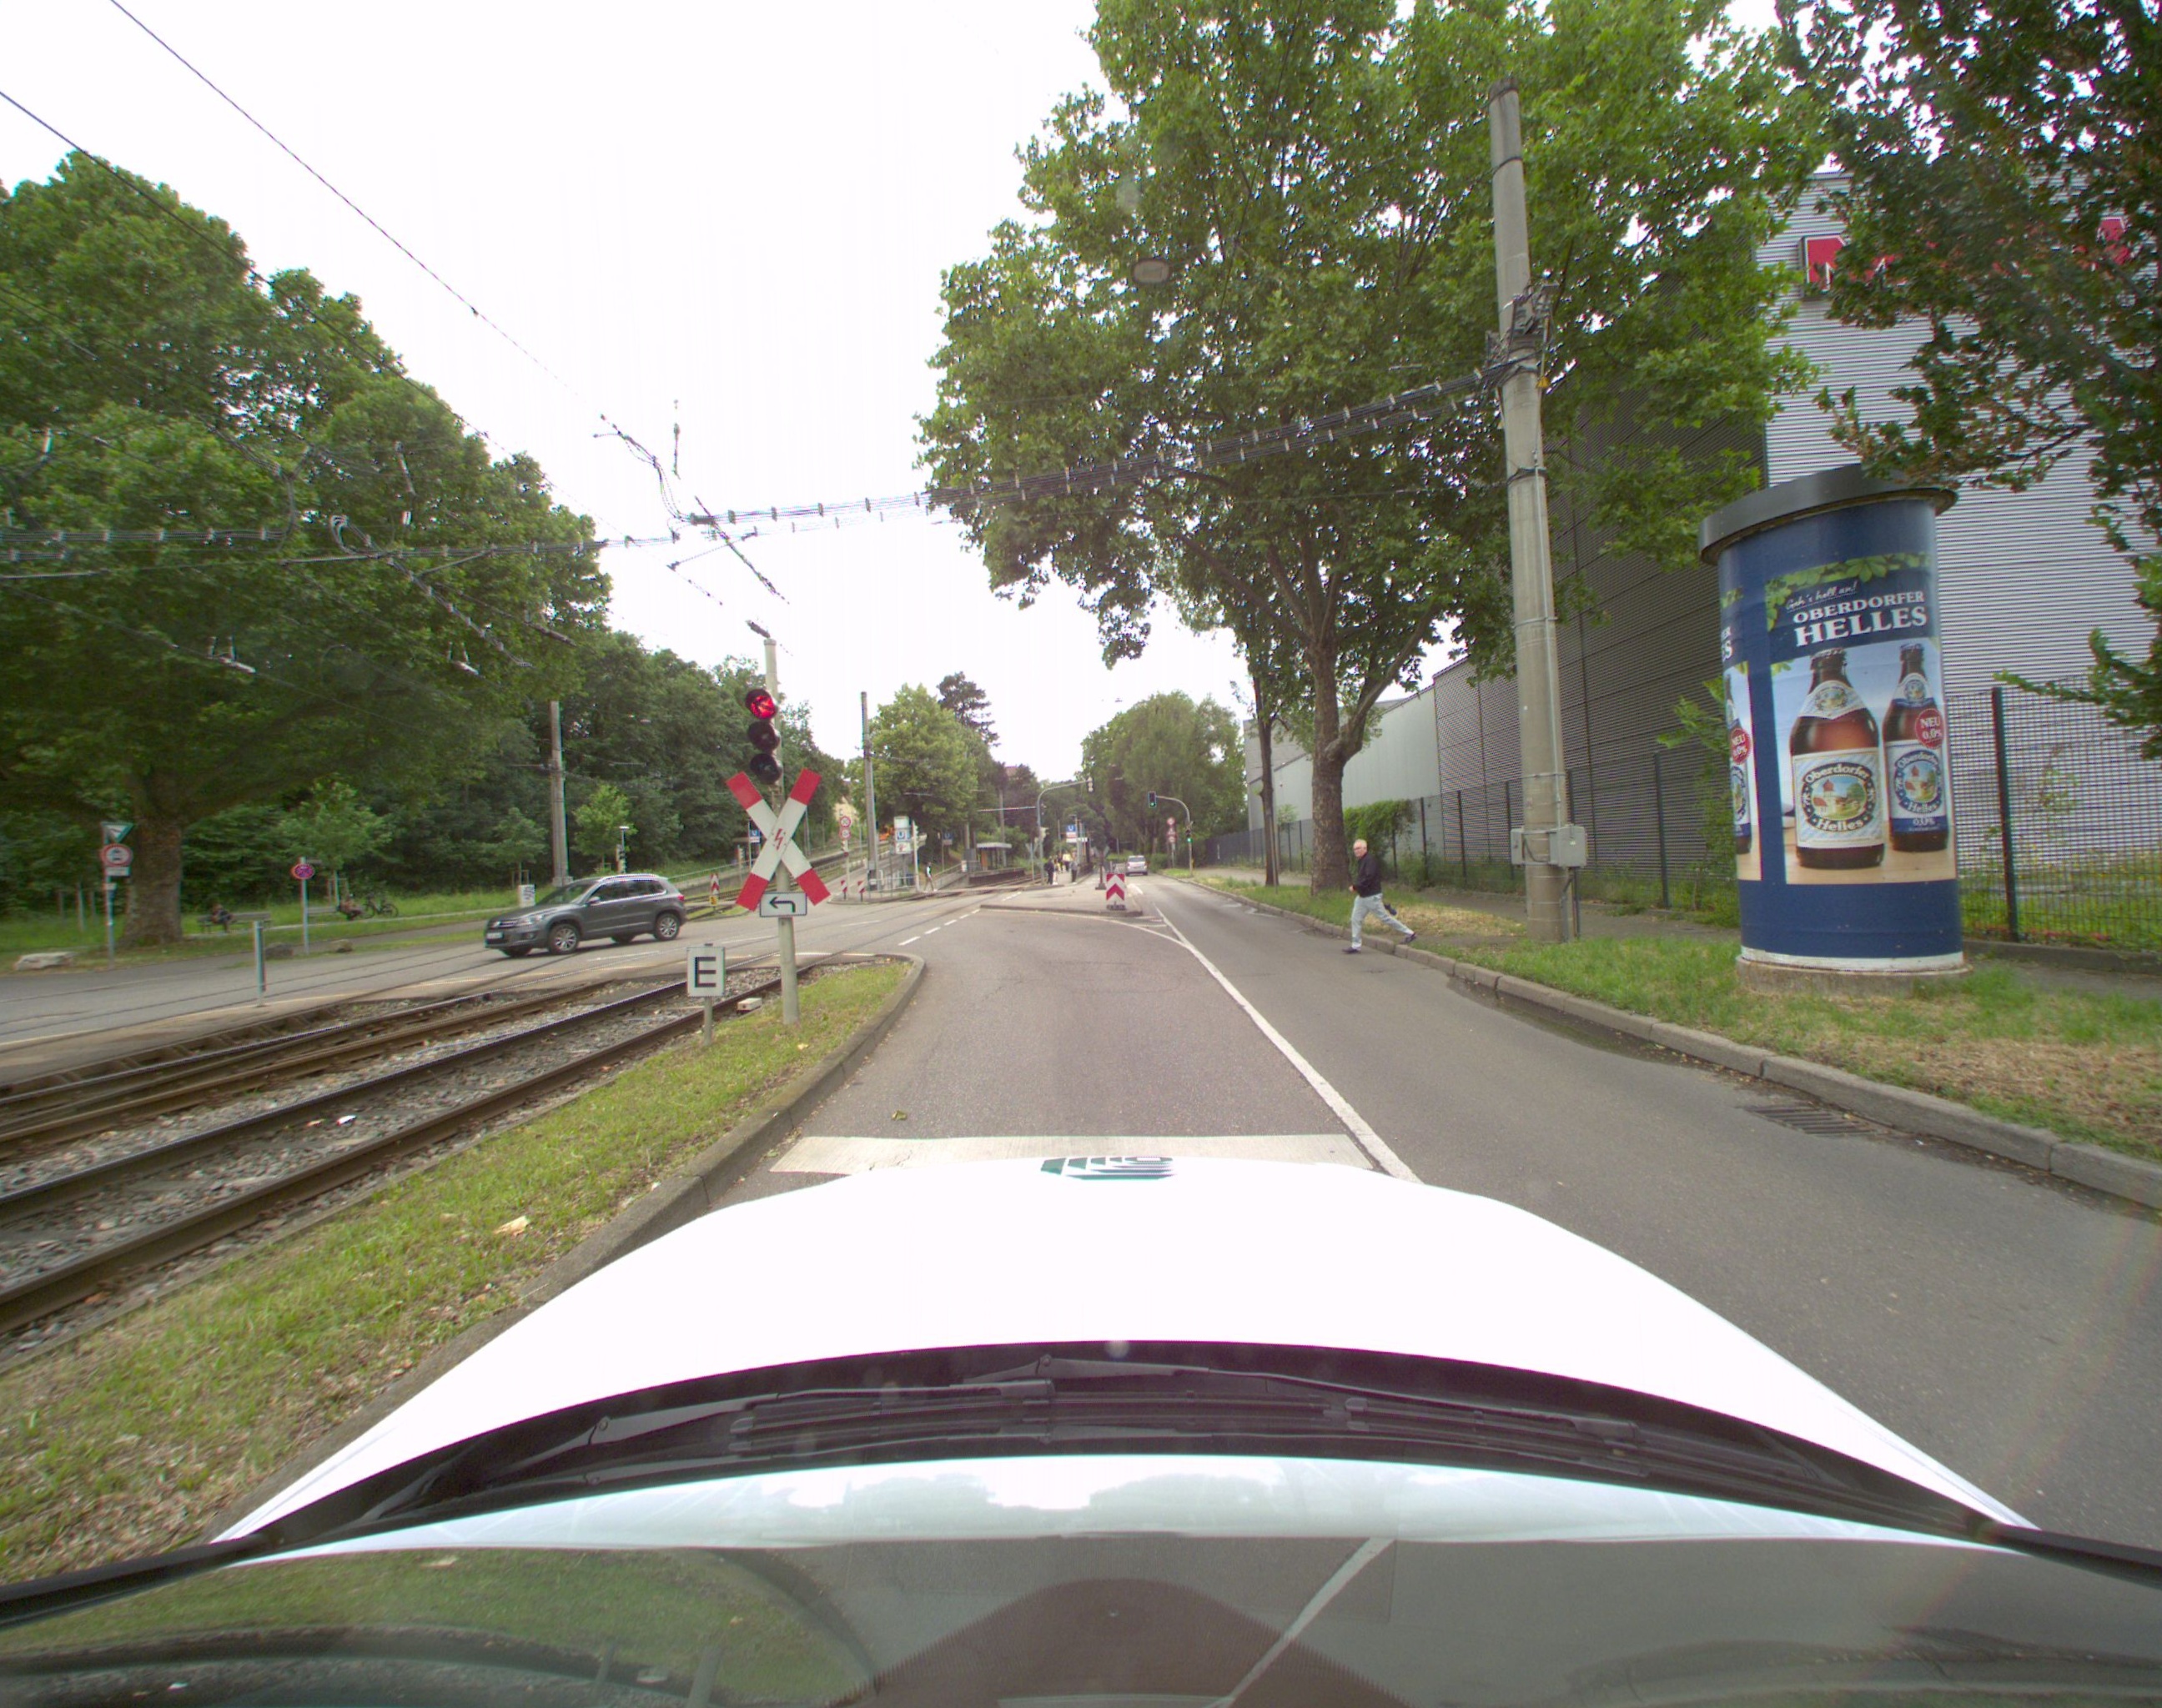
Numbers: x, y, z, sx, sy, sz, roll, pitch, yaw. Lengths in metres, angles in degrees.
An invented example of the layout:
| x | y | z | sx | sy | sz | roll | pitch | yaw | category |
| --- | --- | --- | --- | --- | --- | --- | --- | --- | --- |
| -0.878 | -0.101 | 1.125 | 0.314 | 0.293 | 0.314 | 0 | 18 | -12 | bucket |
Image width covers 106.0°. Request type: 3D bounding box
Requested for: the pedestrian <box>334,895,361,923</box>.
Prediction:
| x | y | z | sx | sy | sz | roll | pitch | yaw | category |
| --- | --- | --- | --- | --- | --- | --- | --- | --- | --- |
| -33.466 | 2.524 | 37.165 | 0.574 | 1.235 | 0.676 | -1 | -1 | 15 | pedestrian |

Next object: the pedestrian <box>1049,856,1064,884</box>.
| x | y | z | sx | sy | sz | roll | pitch | yaw | category |
| --- | --- | --- | --- | --- | --- | --- | --- | --- | --- |
| -1.498 | 0.971 | 49.941 | 0.739 | 1.665 | 0.676 | 0 | -1 | -26 | pedestrian |

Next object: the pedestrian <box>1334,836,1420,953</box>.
| x | y | z | sx | sy | sz | roll | pitch | yaw | category |
| --- | --- | --- | --- | --- | --- | --- | --- | --- | --- |
| 4.580 | 0.614 | 12.680 | 1.110 | 1.760 | 0.816 | -1 | -1 | 10 | pedestrian |

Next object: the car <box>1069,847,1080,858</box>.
| x | y | z | sx | sy | sz | roll | pitch | yaw | category |
| --- | --- | --- | --- | --- | --- | --- | --- | --- | --- |
| -1.204 | -0.329 | 151.443 | 1.986 | 2.014 | 4.001 | 0 | -1 | 2 | car |

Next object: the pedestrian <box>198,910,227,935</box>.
| x | y | z | sx | sy | sz | roll | pitch | yaw | category |
| --- | --- | --- | --- | --- | --- | --- | --- | --- | --- |
| -35.408 | 2.783 | 33.200 | 0.526 | 0.989 | 0.623 | -1 | -1 | 17 | pedestrian |

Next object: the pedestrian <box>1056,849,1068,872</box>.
| x | y | z | sx | sy | sz | roll | pitch | yaw | category |
| --- | --- | --- | --- | --- | --- | --- | --- | --- | --- |
| -1.377 | 0.468 | 58.638 | 0.735 | 1.665 | 0.679 | 0 | -1 | -9 | pedestrian |

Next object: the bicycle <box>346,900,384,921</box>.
| x | y | z | sx | sy | sz | roll | pitch | yaw | category |
| --- | --- | --- | --- | --- | --- | --- | --- | --- | --- |
| -33.531 | 2.638 | 38.137 | 1.726 | 0.885 | 0.625 | -1 | -1 | 21 | bicycle |

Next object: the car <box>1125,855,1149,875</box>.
| x | y | z | sx | sy | sz | roll | pitch | yaw | category |
| --- | --- | --- | --- | --- | --- | --- | --- | --- | --- |
| 4.525 | 0.882 | 66.167 | 1.737 | 1.599 | 4.001 | 0 | 0 | 2 | car |

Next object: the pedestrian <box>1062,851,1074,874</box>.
| x | y | z | sx | sy | sz | roll | pitch | yaw | category |
| --- | --- | --- | --- | --- | --- | --- | --- | --- | --- |
| -0.947 | 0.633 | 59.652 | 0.735 | 1.665 | 0.679 | 0 | -1 | -9 | pedestrian |

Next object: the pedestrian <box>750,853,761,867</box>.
| x | y | z | sx | sy | sz | roll | pitch | yaw | category |
| --- | --- | --- | --- | --- | --- | --- | --- | --- | --- |
| -30.743 | 0.546 | 76.843 | 0.771 | 1.326 | 0.785 | 0 | -1 | -6 | pedestrian |

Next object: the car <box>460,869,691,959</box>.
| x | y | z | sx | sy | sz | roll | pitch | yaw | category |
| --- | --- | --- | --- | --- | --- | --- | --- | --- | --- |
| -11.592 | 1.312 | 19.019 | 1.883 | 1.718 | 4.159 | -5 | -2 | 23 | car |

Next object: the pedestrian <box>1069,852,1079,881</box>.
| x | y | z | sx | sy | sz | roll | pitch | yaw | category |
| --- | --- | --- | --- | --- | --- | --- | --- | --- | --- |
| -0.451 | 0.775 | 50.945 | 0.547 | 1.758 | 0.739 | 0 | -1 | 6 | pedestrian |

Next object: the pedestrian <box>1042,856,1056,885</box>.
| x | y | z | sx | sy | sz | roll | pitch | yaw | category |
| --- | --- | --- | --- | --- | --- | --- | --- | --- | --- |
| -1.851 | 0.949 | 46.920 | 0.732 | 1.665 | 0.682 | 0 | -1 | 3 | pedestrian |

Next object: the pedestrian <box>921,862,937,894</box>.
| x | y | z | sx | sy | sz | roll | pitch | yaw | category |
| --- | --- | --- | --- | --- | --- | --- | --- | --- | --- |
| -8.821 | 1.365 | 47.130 | 0.806 | 1.821 | 0.665 | 0 | -1 | -22 | pedestrian |

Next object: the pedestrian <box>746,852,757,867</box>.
| x | y | z | sx | sy | sz | roll | pitch | yaw | category |
| --- | --- | --- | --- | --- | --- | --- | --- | --- | --- |
| -30.652 | 0.536 | 75.713 | 0.771 | 1.326 | 0.785 | 0 | 2 | -6 | pedestrian |
